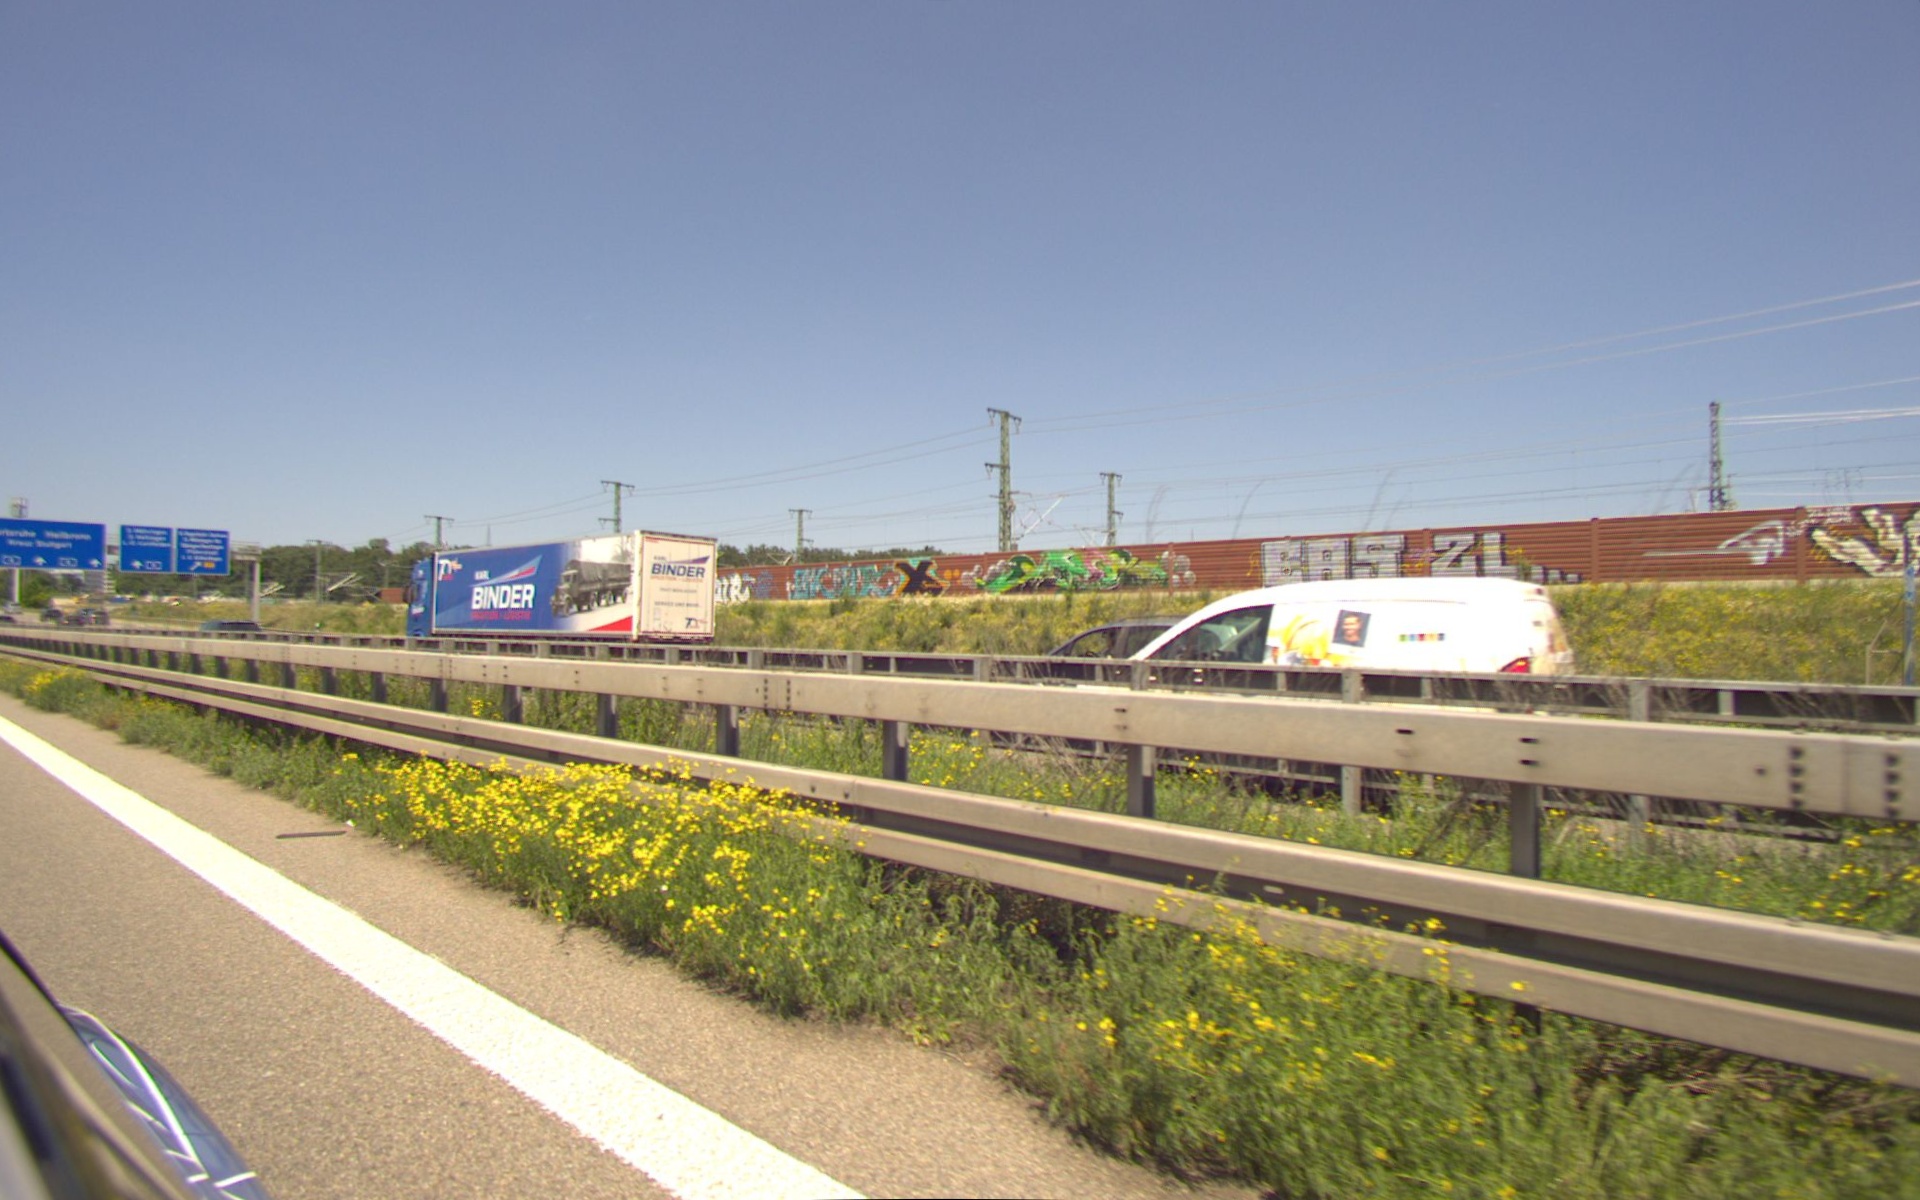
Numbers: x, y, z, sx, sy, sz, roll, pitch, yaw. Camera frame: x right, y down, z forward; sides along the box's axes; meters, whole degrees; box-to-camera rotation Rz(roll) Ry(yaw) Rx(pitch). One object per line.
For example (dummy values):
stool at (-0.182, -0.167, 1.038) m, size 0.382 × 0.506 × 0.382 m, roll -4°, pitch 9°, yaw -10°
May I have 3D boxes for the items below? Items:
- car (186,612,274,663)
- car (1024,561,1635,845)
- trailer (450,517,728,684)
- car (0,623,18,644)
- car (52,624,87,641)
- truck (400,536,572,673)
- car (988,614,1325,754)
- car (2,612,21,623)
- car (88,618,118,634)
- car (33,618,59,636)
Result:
car at (-26.663, 1.321, 36.914) m, size 4.191 × 1.646 × 1.701 m, roll 0°, pitch 1°, yaw 41°
car at (2.887, 0.694, 8.604) m, size 4.536 × 1.798 × 1.797 m, roll -1°, pitch -1°, yaw 42°
trailer at (-12.116, 0.134, 31.958) m, size 12.087 × 4.441 × 2.857 m, roll -1°, pitch -2°, yaw 42°
car at (-70.883, 2.462, 74.439) m, size 4.383 × 1.475 × 1.972 m, roll -1°, pitch 0°, yaw 42°
car at (-85.191, 3.121, 96.799) m, size 3.930 × 1.498 × 1.972 m, roll 0°, pitch -2°, yaw 42°
truck at (-17.239, 0.243, 36.535) m, size 7.500 × 4.441 × 2.857 m, roll -1°, pitch -2°, yaw 42°
car at (2.642, 1.053, 14.263) m, size 4.360 × 1.660 × 1.797 m, roll -1°, pitch -1°, yaw 42°
car at (-162.282, 3.003, 173.092) m, size 4.976 × 1.900 × 1.972 m, roll -1°, pitch 0°, yaw 42°
car at (-96.922, 2.961, 114.432) m, size 4.511 × 1.739 × 1.973 m, roll -1°, pitch 0°, yaw 42°
car at (-114.962, 3.377, 127.284) m, size 4.308 × 2.029 × 1.973 m, roll 0°, pitch 1°, yaw 42°
